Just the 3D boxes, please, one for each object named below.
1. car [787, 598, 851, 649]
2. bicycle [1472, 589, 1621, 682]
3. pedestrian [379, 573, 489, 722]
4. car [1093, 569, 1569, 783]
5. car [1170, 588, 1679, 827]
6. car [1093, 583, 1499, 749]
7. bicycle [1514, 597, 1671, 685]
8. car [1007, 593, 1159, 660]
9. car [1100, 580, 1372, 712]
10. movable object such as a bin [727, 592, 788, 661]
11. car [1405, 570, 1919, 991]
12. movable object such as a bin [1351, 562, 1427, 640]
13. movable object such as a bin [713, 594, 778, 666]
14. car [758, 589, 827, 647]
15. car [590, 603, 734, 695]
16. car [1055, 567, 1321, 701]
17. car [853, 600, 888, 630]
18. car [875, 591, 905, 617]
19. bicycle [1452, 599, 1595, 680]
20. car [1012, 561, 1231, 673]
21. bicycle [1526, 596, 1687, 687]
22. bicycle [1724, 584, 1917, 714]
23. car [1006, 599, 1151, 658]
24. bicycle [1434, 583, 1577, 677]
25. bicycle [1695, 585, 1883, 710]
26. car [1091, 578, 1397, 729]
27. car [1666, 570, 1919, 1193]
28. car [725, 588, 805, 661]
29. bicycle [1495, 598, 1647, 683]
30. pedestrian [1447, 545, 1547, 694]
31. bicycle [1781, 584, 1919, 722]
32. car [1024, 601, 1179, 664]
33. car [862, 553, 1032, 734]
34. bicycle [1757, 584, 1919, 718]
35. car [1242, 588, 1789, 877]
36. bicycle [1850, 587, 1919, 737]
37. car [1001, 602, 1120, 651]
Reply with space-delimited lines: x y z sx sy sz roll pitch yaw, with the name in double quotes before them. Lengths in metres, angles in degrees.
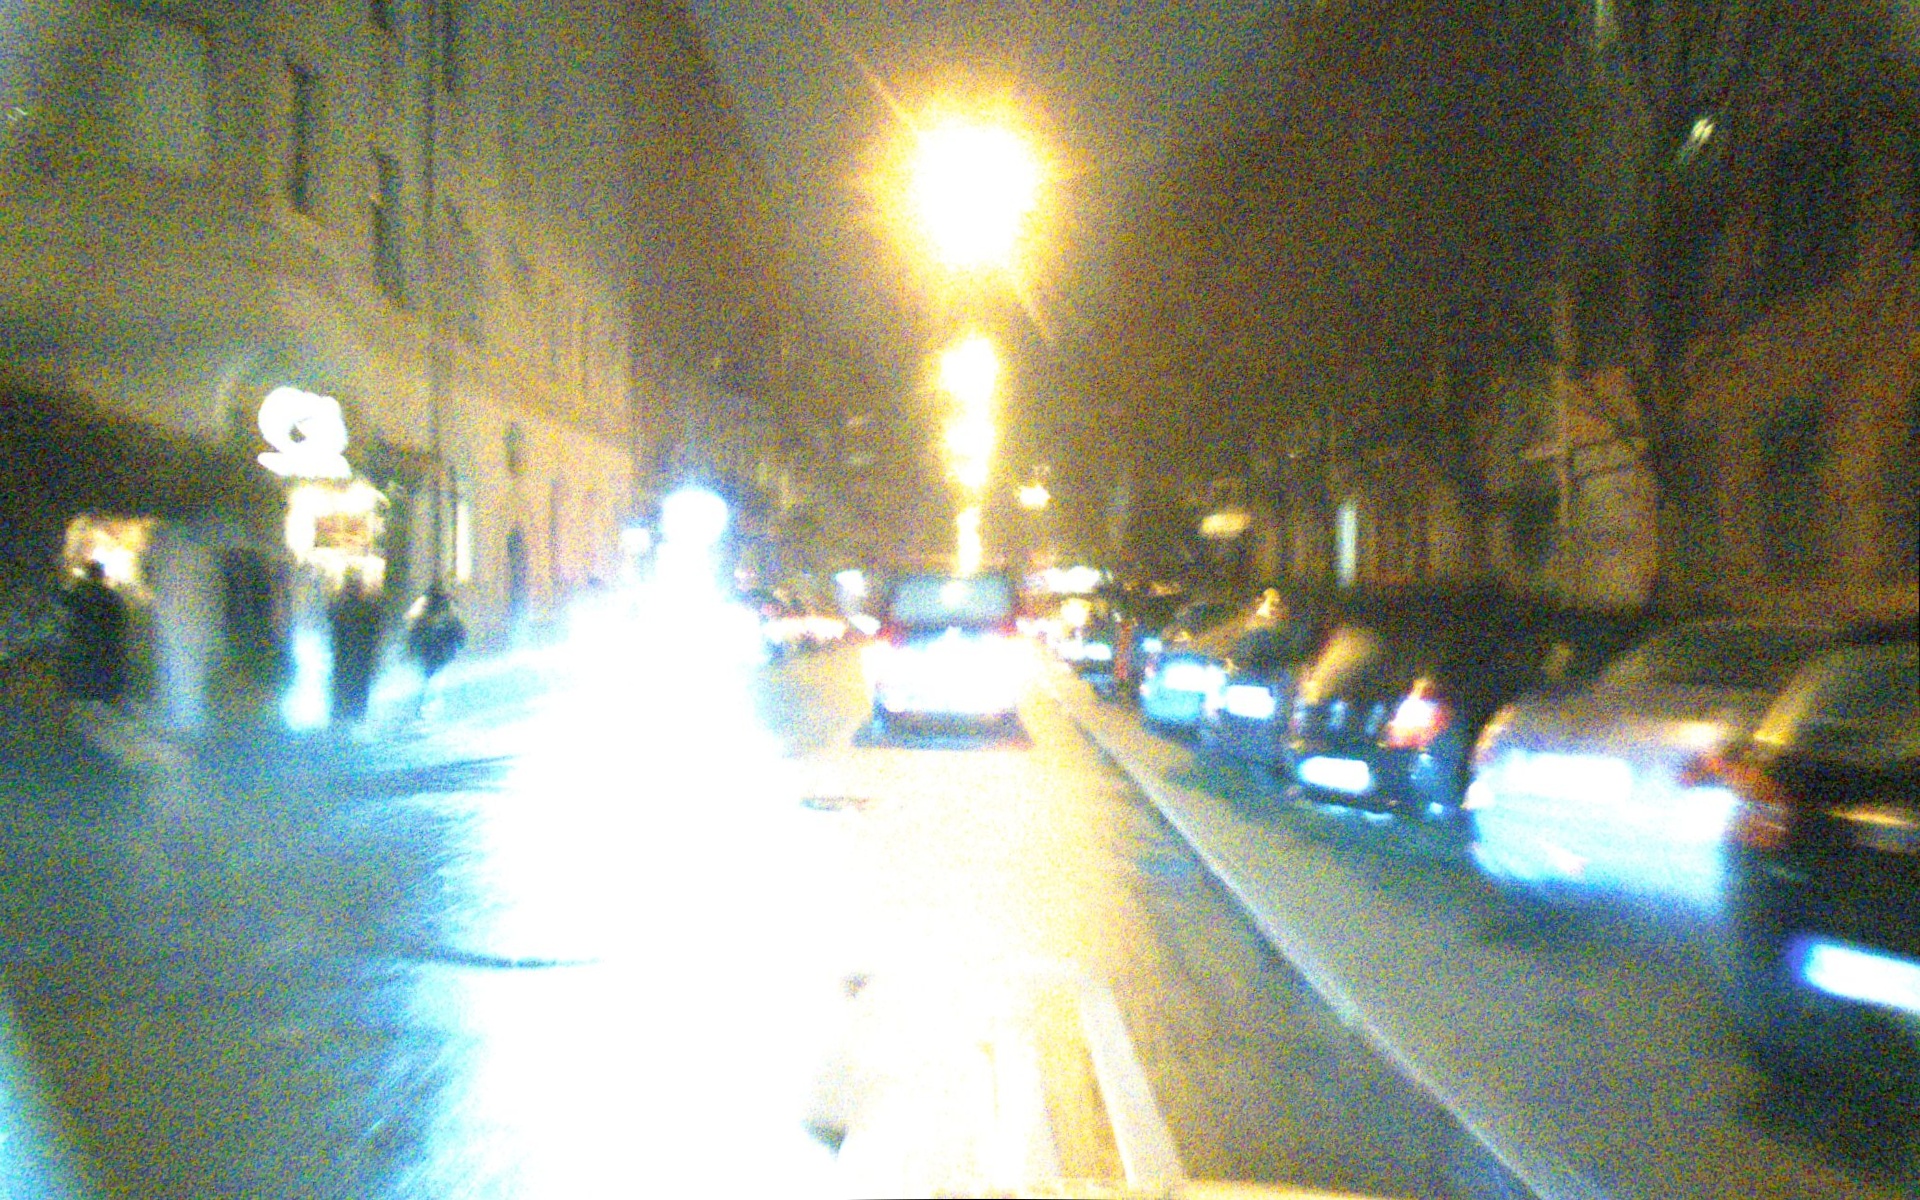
"car" -4.472 0.720 52.917 1.652 1.481 4.315 1 0 0
"bicycle" 8.413 0.501 23.746 1.934 1.212 0.509 -3 0 -7
"pedestrian" -6.539 0.582 20.608 1.109 1.814 0.788 0 0 0
"car" 3.456 0.651 15.475 4.036 1.795 1.847 1 0 -22
"car" 3.576 0.750 12.810 3.504 1.639 1.702 1 0 -22
"car" 3.635 0.672 17.954 3.992 1.639 1.833 1 0 -22
"bicycle" 8.577 0.546 22.448 1.934 1.073 0.509 -3 0 -7
"car" 3.120 0.654 41.848 3.603 1.569 1.544 -1 0 -30
"car" 3.996 0.629 23.815 3.728 1.758 1.697 1 0 -34
"movable object such as a bin" -4.473 0.578 36.701 1.140 1.485 1.107 2 0 2
"car" 4.102 0.658 7.820 3.654 1.549 1.643 -2 0 -26
"movable object such as a bin" 8.671 0.018 33.473 1.184 1.476 0.998 -5 0 0
"movable object such as a bin" -4.604 0.637 35.538 1.183 1.485 1.107 2 0 2
"car" -4.771 0.487 47.594 1.570 1.579 4.025 1 0 0
"car" -4.807 0.748 27.204 1.620 1.383 4.222 0 0 0
"car" 3.710 0.506 26.569 4.200 1.891 1.695 -2 0 -36
"car" -4.630 0.766 85.840 1.554 1.508 3.793 1 0 1
"car" -4.314 0.243 101.497 1.777 1.584 4.074 1 0 -3
"bicycle" 8.303 0.572 24.393 1.934 1.073 0.509 -3 0 -7
"car" 3.559 0.330 36.072 4.674 2.287 1.922 -1 0 -37
"bicycle" 8.545 0.544 21.871 1.934 1.073 0.509 -3 0 -7
"bicycle" 8.513 0.473 16.384 1.654 1.166 0.540 -3 0 -9
"car" 3.440 0.810 47.673 3.954 1.579 1.782 -1 0 -35
"bicycle" 8.508 0.460 25.862 1.930 1.358 0.783 -3 0 6
"bicycle" 8.543 0.476 17.066 1.654 1.166 0.596 -3 0 -9
"car" 3.653 0.618 21.063 3.760 1.758 1.720 0 0 -36
"car" 4.054 0.637 4.827 3.654 1.549 1.643 -2 0 -26
"car" -4.869 0.585 41.710 1.570 1.736 3.721 0 0 0
"bicycle" 8.525 0.556 23.092 1.934 1.073 0.509 -3 0 -7
"pedestrian" 7.139 0.265 22.033 0.822 1.867 0.946 -5 -1 -4
"bicycle" 8.500 0.470 15.285 1.654 1.166 0.428 -3 0 -9
"car" 3.892 0.857 45.212 3.959 1.579 1.973 -1 0 -38
"car" -0.142 0.524 21.088 1.953 2.086 4.000 0 -1 0
"bicycle" 8.554 0.473 15.819 1.654 1.166 0.485 -3 0 -9
"car" 3.442 0.734 10.309 2.996 1.579 1.495 1 0 -22
"bicycle" 8.219 0.464 13.555 1.654 1.166 0.428 -3 0 -9
"car" 3.332 0.870 54.761 3.624 1.486 1.592 -2 0 -25
